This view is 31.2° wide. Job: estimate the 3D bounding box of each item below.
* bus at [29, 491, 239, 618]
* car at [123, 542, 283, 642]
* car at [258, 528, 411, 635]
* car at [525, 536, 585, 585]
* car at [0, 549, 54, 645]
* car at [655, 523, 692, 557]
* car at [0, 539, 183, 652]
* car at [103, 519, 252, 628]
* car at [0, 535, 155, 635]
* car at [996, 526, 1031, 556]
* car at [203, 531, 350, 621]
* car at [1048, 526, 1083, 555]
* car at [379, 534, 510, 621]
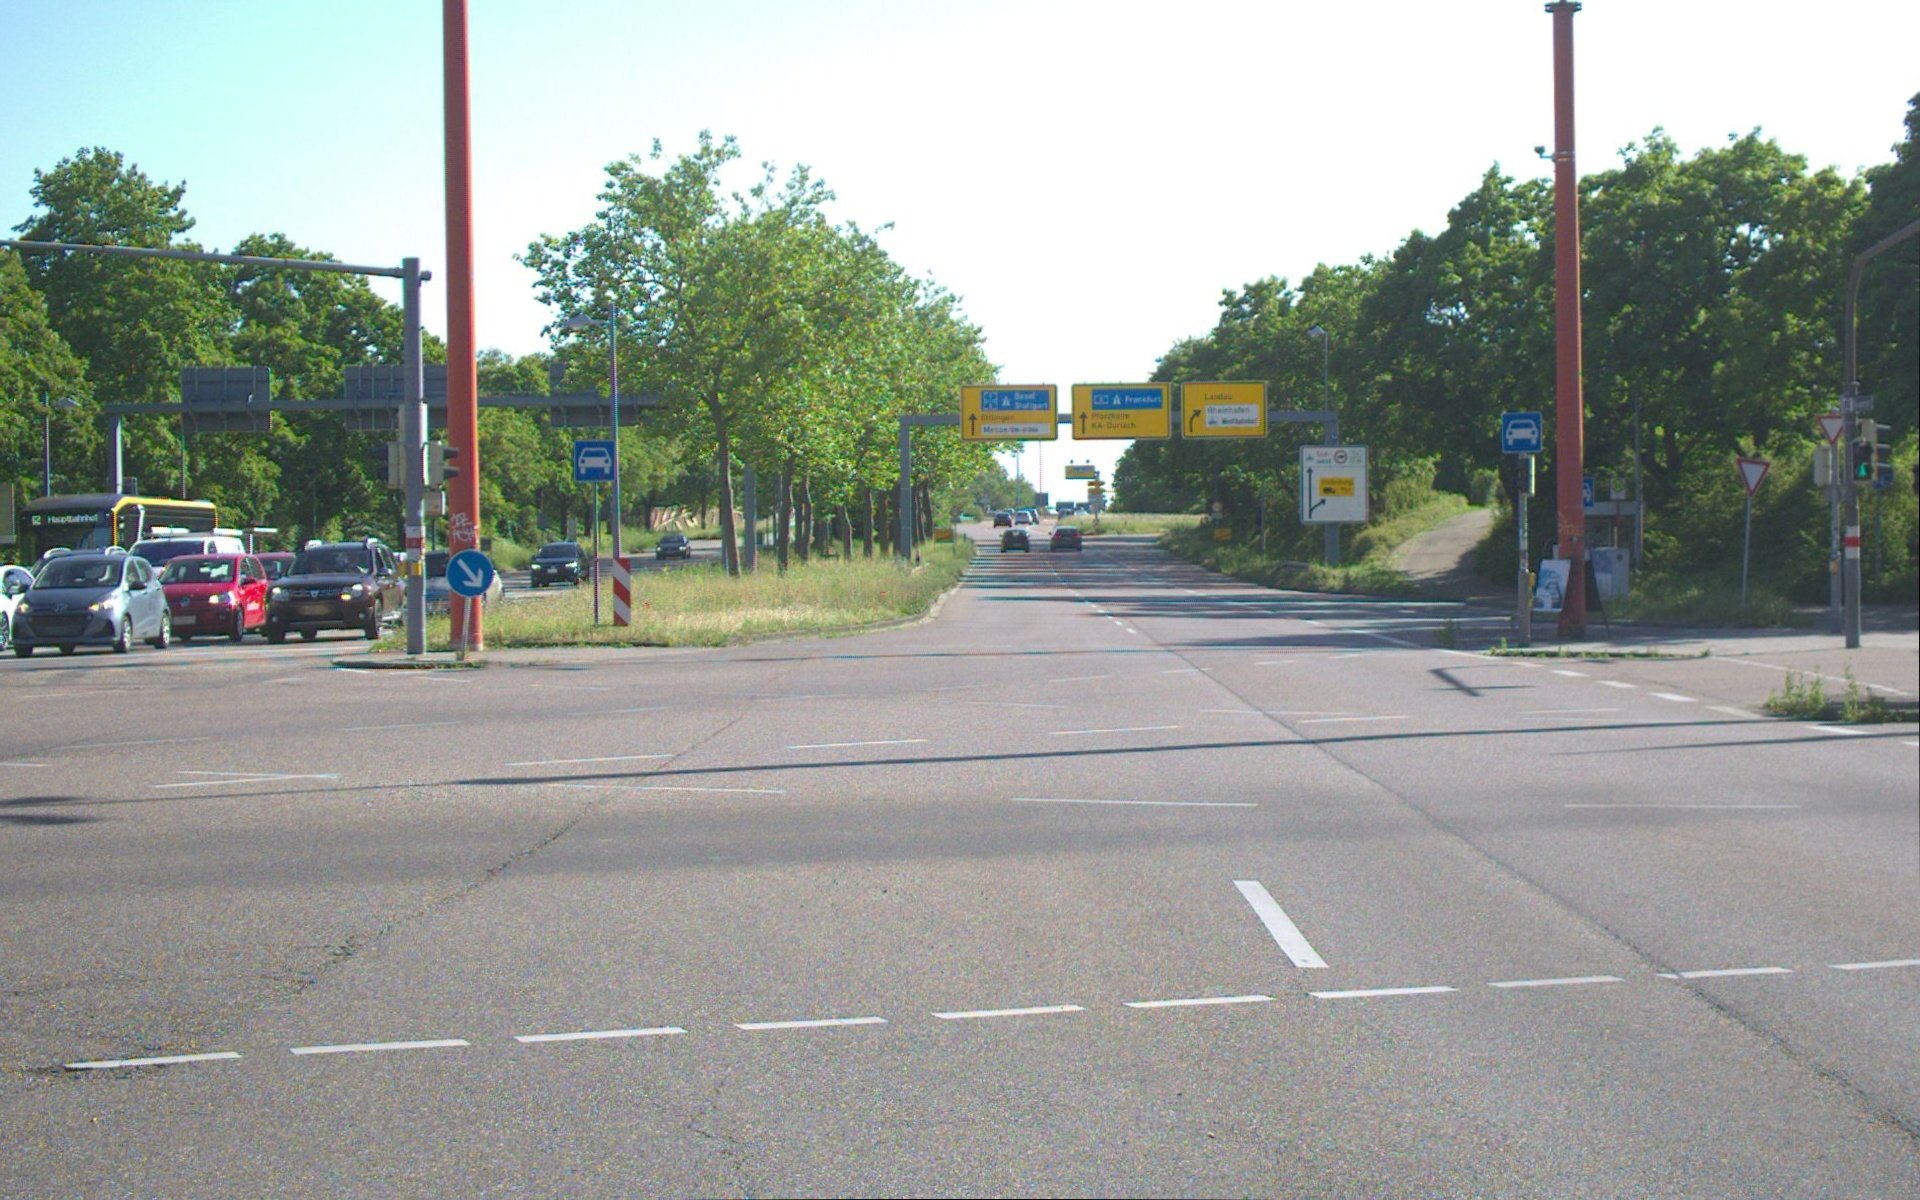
[{"bbox_3d":[-22.598,-1.232,94.872,2.646,3.250,12.536,1,1,1],"label":"bus"},{"bbox_3d":[-12.866,-0.161,58.632,1.875,1.547,4.000,-4,1,-2],"label":"car"},{"bbox_3d":[-10.212,-0.330,56.369,1.793,1.620,4.144,-2,1,-1],"label":"car"},{"bbox_3d":[-15.458,-1.524,131.429,1.837,1.831,3.961,-1,1,-1],"label":"car"},{"bbox_3d":[-16.531,-0.053,57.285,1.901,1.549,4.000,-2,1,-2],"label":"car"},{"bbox_3d":[-17.339,-3.641,208.149,1.920,1.992,4.604,-1,1,-1],"label":"car"},{"bbox_3d":[-13.218,-0.101,52.294,1.874,1.545,4.028,-2,1,-1],"label":"car"},{"bbox_3d":[-16.066,-0.571,70.832,1.961,2.147,5.082,-1,1,-1],"label":"car"},{"bbox_3d":[-16.398,-0.309,63.775,1.874,1.778,4.000,-1,1,1],"label":"car"},{"bbox_3d":[3.229,-3.569,208.480,1.993,1.727,4.000,1,1,-1],"label":"car"},{"bbox_3d":[-12.805,-0.457,64.628,1.901,1.624,4.000,0,1,1],"label":"car"},{"bbox_3d":[6.557,-3.693,214.096,1.993,1.727,4.000,1,1,-1],"label":"car"},{"bbox_3d":[-9.789,-0.450,65.551,1.885,1.538,4.000,-2,1,-1],"label":"car"}]
